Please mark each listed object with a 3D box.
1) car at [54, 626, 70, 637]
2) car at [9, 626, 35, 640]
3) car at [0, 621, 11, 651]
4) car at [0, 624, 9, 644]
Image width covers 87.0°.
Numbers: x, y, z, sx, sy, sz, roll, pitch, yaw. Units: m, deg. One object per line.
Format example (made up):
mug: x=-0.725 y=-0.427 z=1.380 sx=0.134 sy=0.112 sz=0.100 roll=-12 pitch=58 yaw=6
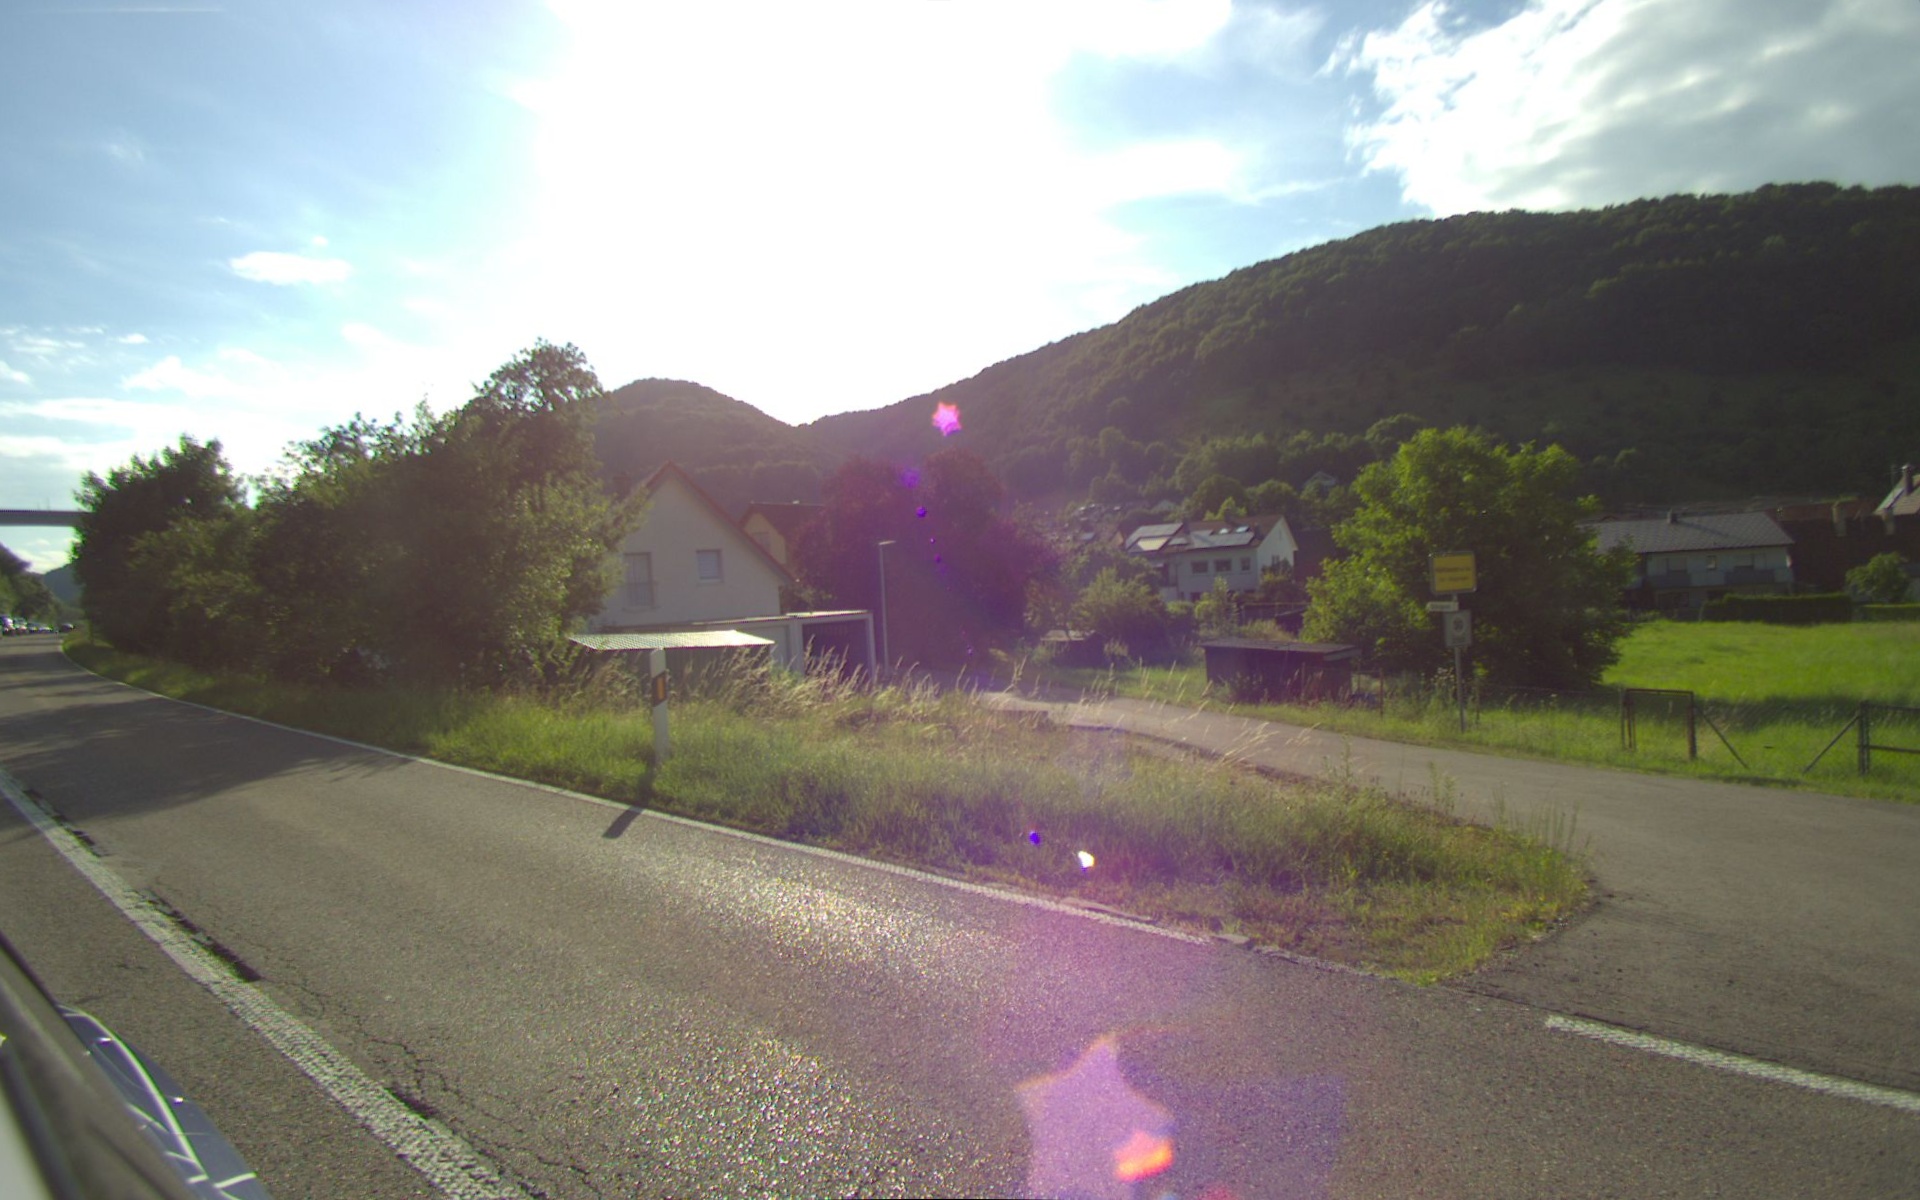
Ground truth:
car: x=-138.768 y=4.818 z=156.376 sx=1.792 sy=1.630 sz=3.809 roll=1 pitch=-2 yaw=-43
car: x=-111.498 y=3.940 z=120.314 sx=1.813 sy=1.564 sz=4.186 roll=1 pitch=-2 yaw=-37
car: x=-53.169 y=1.969 z=55.364 sx=1.815 sy=1.564 sz=4.181 roll=1 pitch=-2 yaw=-43
car: x=-79.839 y=2.837 z=83.510 sx=1.792 sy=1.630 sz=4.005 roll=1 pitch=-2 yaw=-41
